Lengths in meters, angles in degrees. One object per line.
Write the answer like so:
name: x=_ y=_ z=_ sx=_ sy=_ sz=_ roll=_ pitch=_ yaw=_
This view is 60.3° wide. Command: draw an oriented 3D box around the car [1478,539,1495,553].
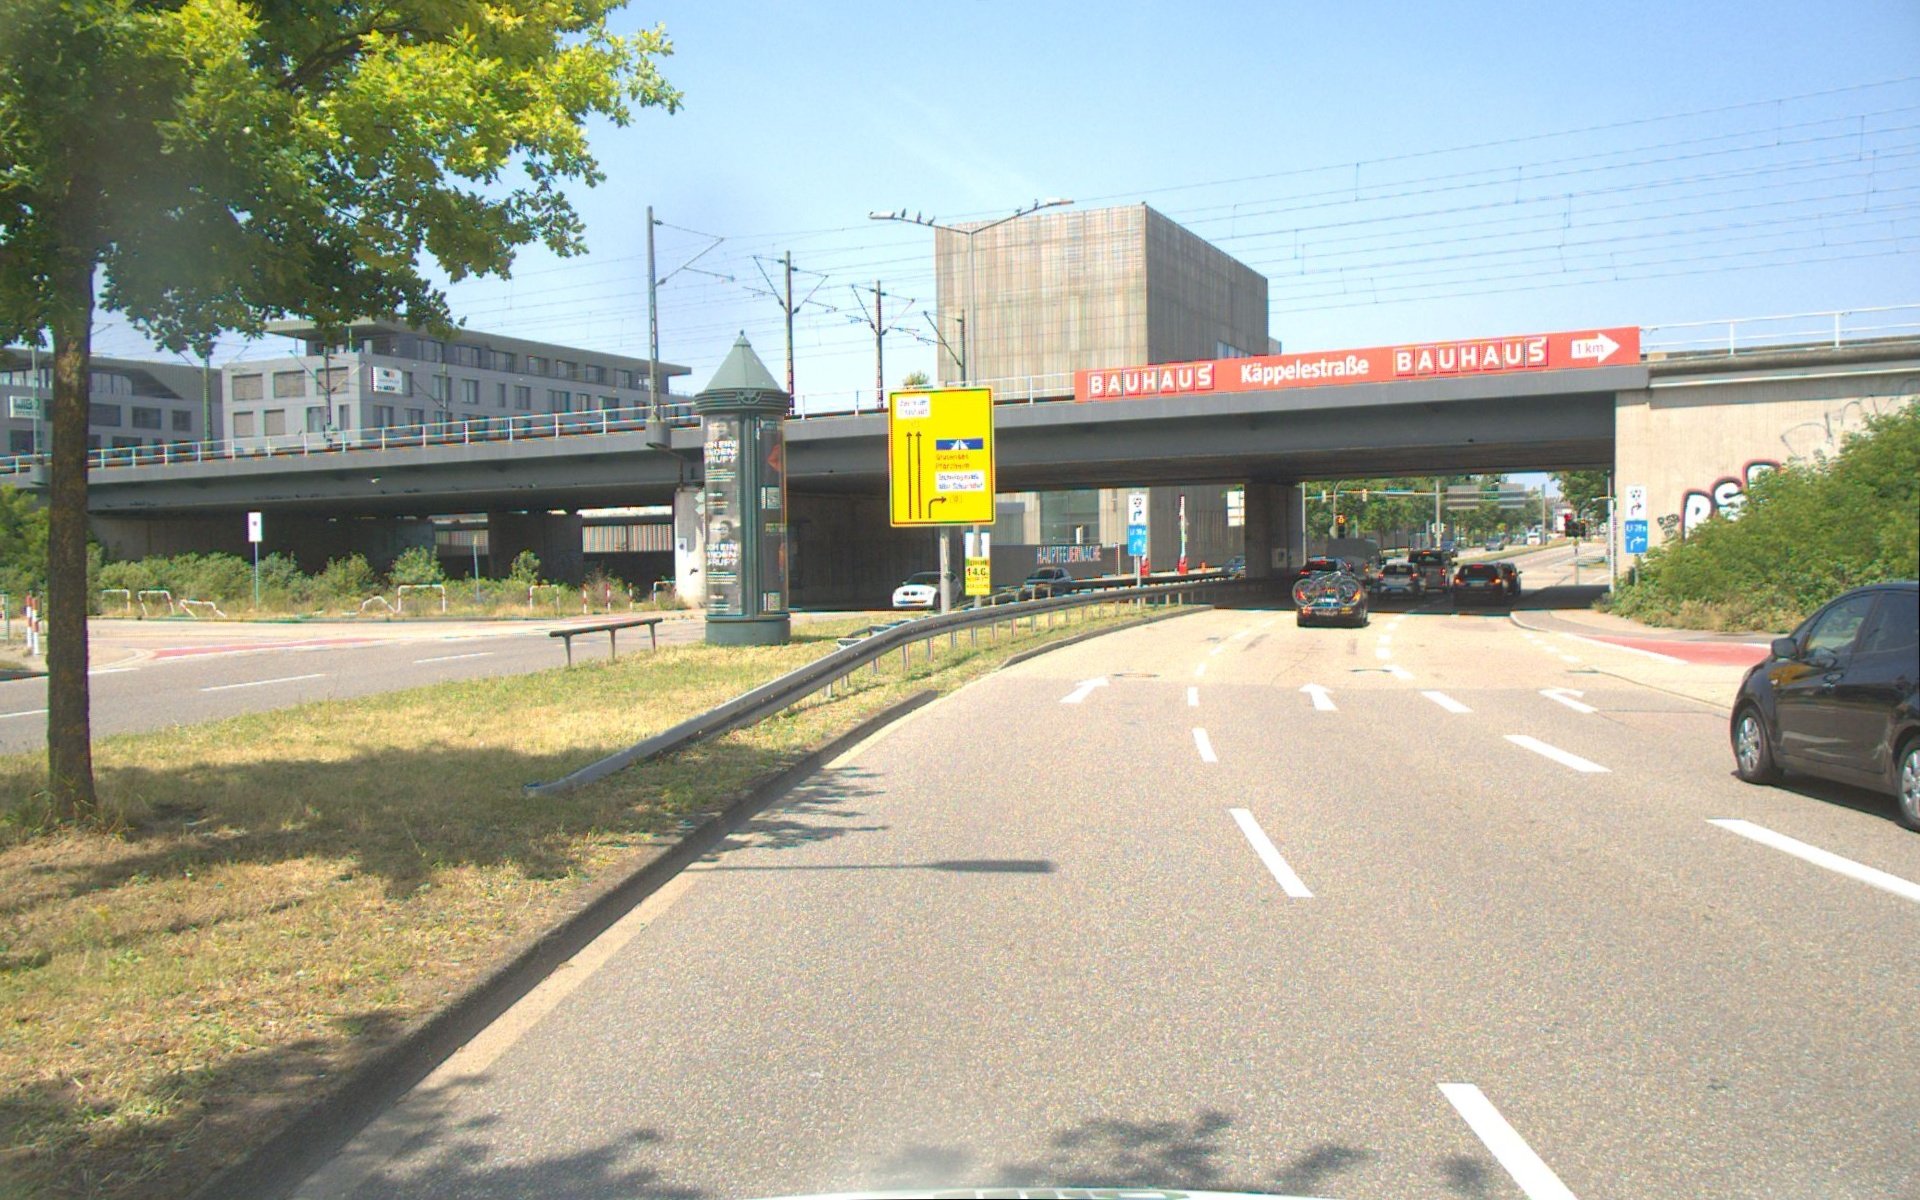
car: x=65.536 y=-6.742 z=205.846 sx=1.815 sy=1.651 sz=4.001 roll=0 pitch=1 yaw=19

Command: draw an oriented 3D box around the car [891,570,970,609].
car: x=-1.084 y=-0.420 z=62.947 sx=1.620 sy=1.403 sz=4.219 roll=0 pitch=1 yaw=20

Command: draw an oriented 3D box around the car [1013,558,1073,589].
car: x=4.332 y=-1.358 z=85.734 sx=1.952 sy=1.466 sz=4.000 roll=-2 pitch=0 yaw=21

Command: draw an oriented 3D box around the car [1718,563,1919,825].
car: x=7.000 y=0.571 z=11.589 sx=1.730 sy=1.627 sz=4.080 roll=0 pitch=2 yaw=4

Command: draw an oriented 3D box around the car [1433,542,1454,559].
car: x=48.137 y=-4.906 z=164.689 sx=1.816 sy=1.651 sz=4.001 roll=0 pitch=1 yaw=20

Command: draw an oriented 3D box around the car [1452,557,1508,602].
car: x=19.289 y=-0.763 z=61.232 sx=1.802 sy=1.595 sz=4.001 roll=0 pitch=1 yaw=20

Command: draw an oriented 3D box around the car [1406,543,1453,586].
car: x=21.555 y=-1.619 z=75.871 sx=1.802 sy=1.923 sz=4.001 roll=0 pitch=1 yaw=20

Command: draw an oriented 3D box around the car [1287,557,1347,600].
car: x=14.846 y=-0.894 z=68.662 sx=1.900 sy=1.751 sz=4.001 roll=0 pitch=1 yaw=20

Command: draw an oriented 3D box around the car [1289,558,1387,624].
car: x=10.106 y=-0.282 z=44.009 sx=1.917 sy=1.662 sz=4.280 roll=0 pitch=1 yaw=21

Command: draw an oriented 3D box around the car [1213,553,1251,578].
car: x=18.970 y=-2.396 z=115.175 sx=1.816 sy=1.651 sz=4.000 roll=0 pitch=1 yaw=21

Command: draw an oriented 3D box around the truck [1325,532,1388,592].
truck: x=18.035 y=-1.737 z=75.190 sx=2.026 sy=2.582 sz=3.998 roll=-2 pitch=1 yaw=24

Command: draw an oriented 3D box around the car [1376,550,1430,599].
car: x=18.252 y=-1.052 z=68.013 sx=1.802 sy=1.923 sz=4.001 roll=0 pitch=1 yaw=20

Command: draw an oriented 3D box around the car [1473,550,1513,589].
car: x=26.999 y=-1.525 z=83.735 sx=1.802 sy=1.923 sz=4.001 roll=0 pitch=1 yaw=20

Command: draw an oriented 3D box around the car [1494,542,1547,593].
car: x=24.294 y=-1.415 z=71.622 sx=1.952 sy=2.048 sz=4.001 roll=-3 pitch=0 yaw=21

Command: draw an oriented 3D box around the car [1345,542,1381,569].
car: x=31.700 y=-3.489 z=130.114 sx=1.954 sy=2.048 sz=3.998 roll=-3 pitch=0 yaw=25
